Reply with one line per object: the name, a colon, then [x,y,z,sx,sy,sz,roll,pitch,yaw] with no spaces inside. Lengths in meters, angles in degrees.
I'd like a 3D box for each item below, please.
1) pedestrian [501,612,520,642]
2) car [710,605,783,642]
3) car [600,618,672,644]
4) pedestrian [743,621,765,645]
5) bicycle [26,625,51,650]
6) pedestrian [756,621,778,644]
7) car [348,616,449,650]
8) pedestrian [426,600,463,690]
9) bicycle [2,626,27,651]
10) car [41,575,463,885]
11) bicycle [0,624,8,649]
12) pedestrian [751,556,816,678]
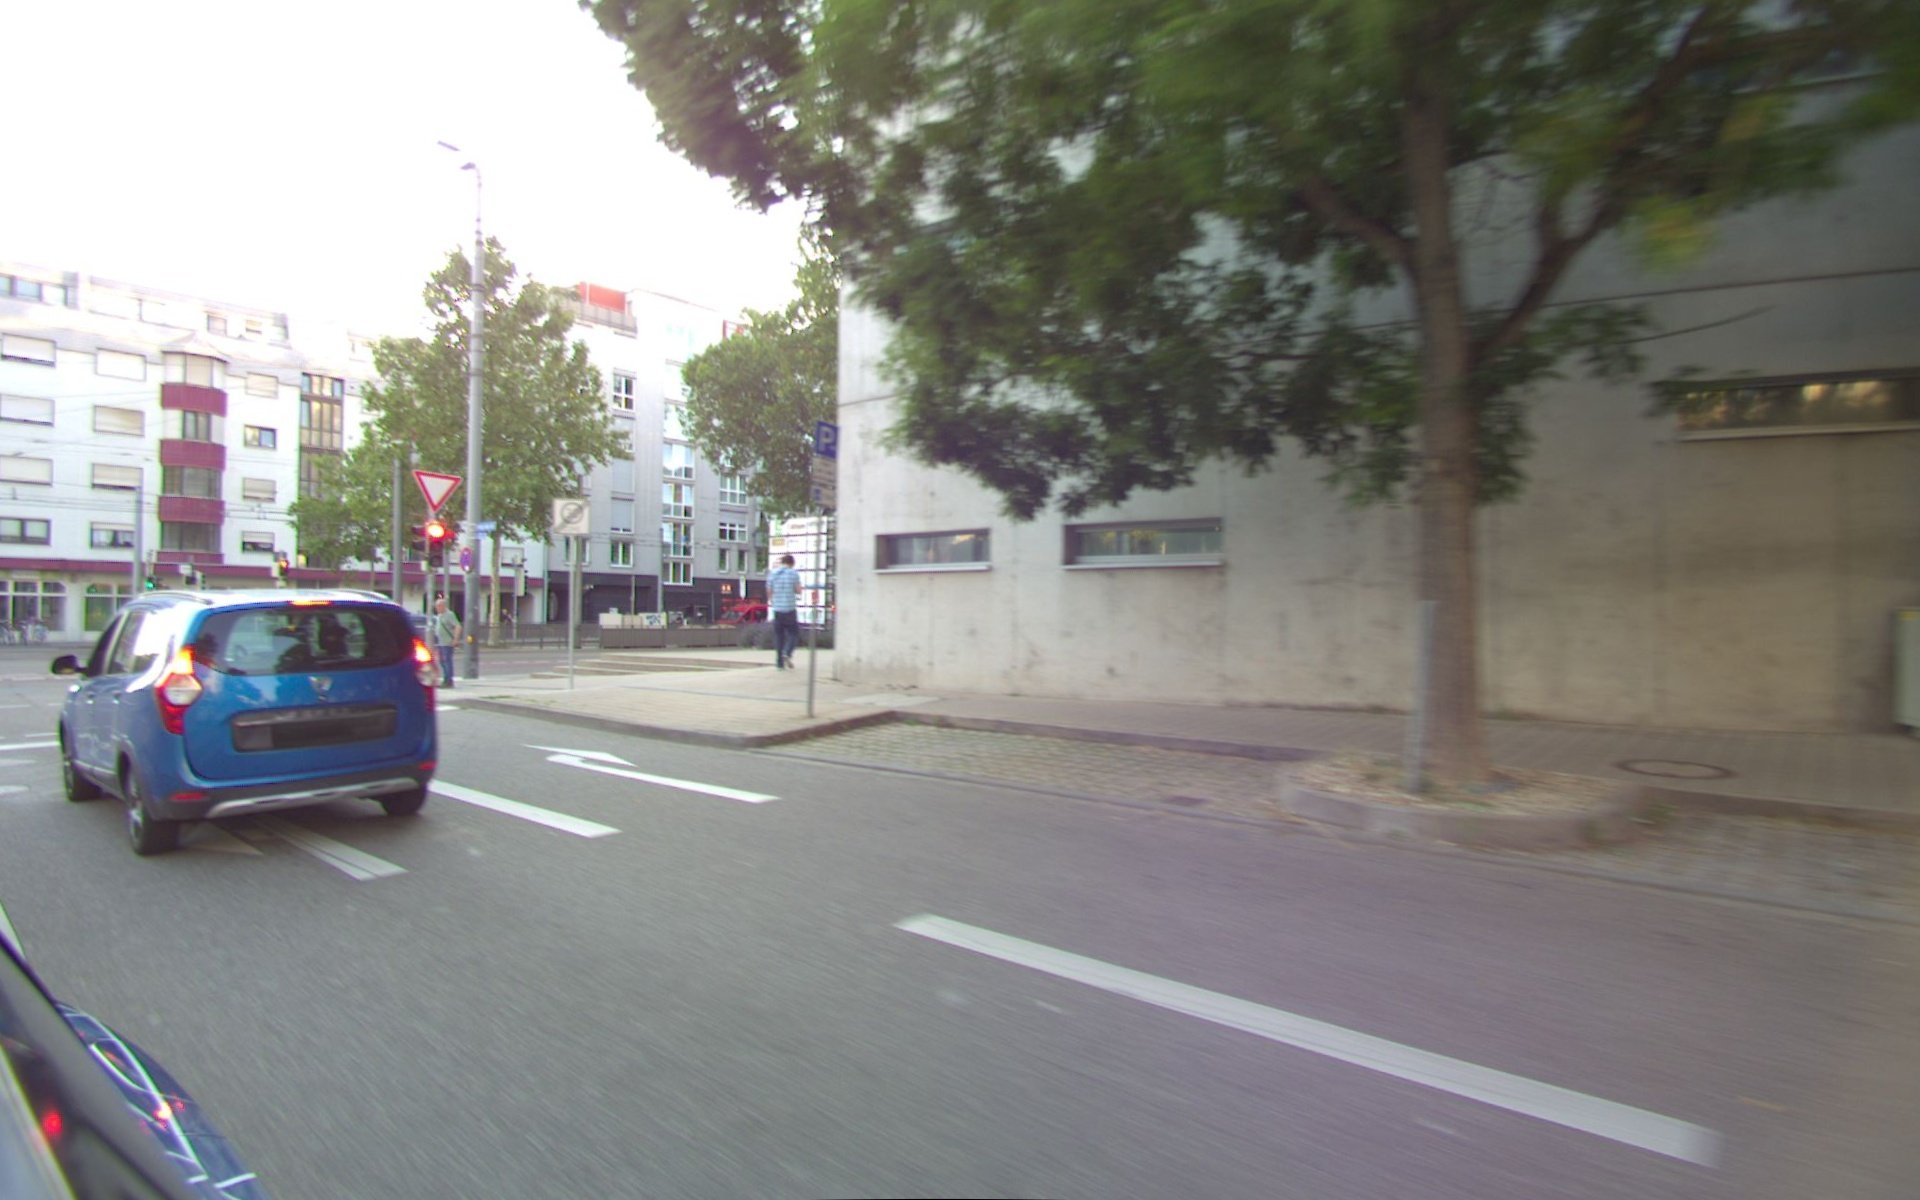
pedestrian: [-27.258,1.642,61.386,0.692,1.820,0.824,-1,-2,43]
car: [-15.267,1.667,72.645,1.851,2.560,5.011,-1,-2,42]
car: [-20.503,1.944,64.145,1.665,1.608,4.045,-1,-2,41]
pedestrian: [-12.950,2.062,63.527,0.937,1.464,0.984,-1,-2,41]
bicycle: [-40.035,1.634,43.944,1.901,1.054,0.508,-1,-2,39]
pedestrian: [-12.269,2.068,64.289,0.937,1.464,0.984,-1,-2,41]
car: [-27.985,1.635,50.524,1.665,1.608,4.045,-1,-2,41]
pedestrian: [-10.011,0.867,19.662,0.537,1.714,0.710,1,-2,-21]
bicycle: [-40.685,1.666,43.551,1.901,1.054,0.508,-1,-2,39]
car: [-5.504,0.748,7.630,4.272,1.691,1.729,-1,-1,42]
bicycle: [-41.095,1.549,43.128,1.901,1.054,0.508,-1,-2,39]
pedestrian: [-2.909,0.265,16.724,0.692,1.896,0.877,-3,3,8]
